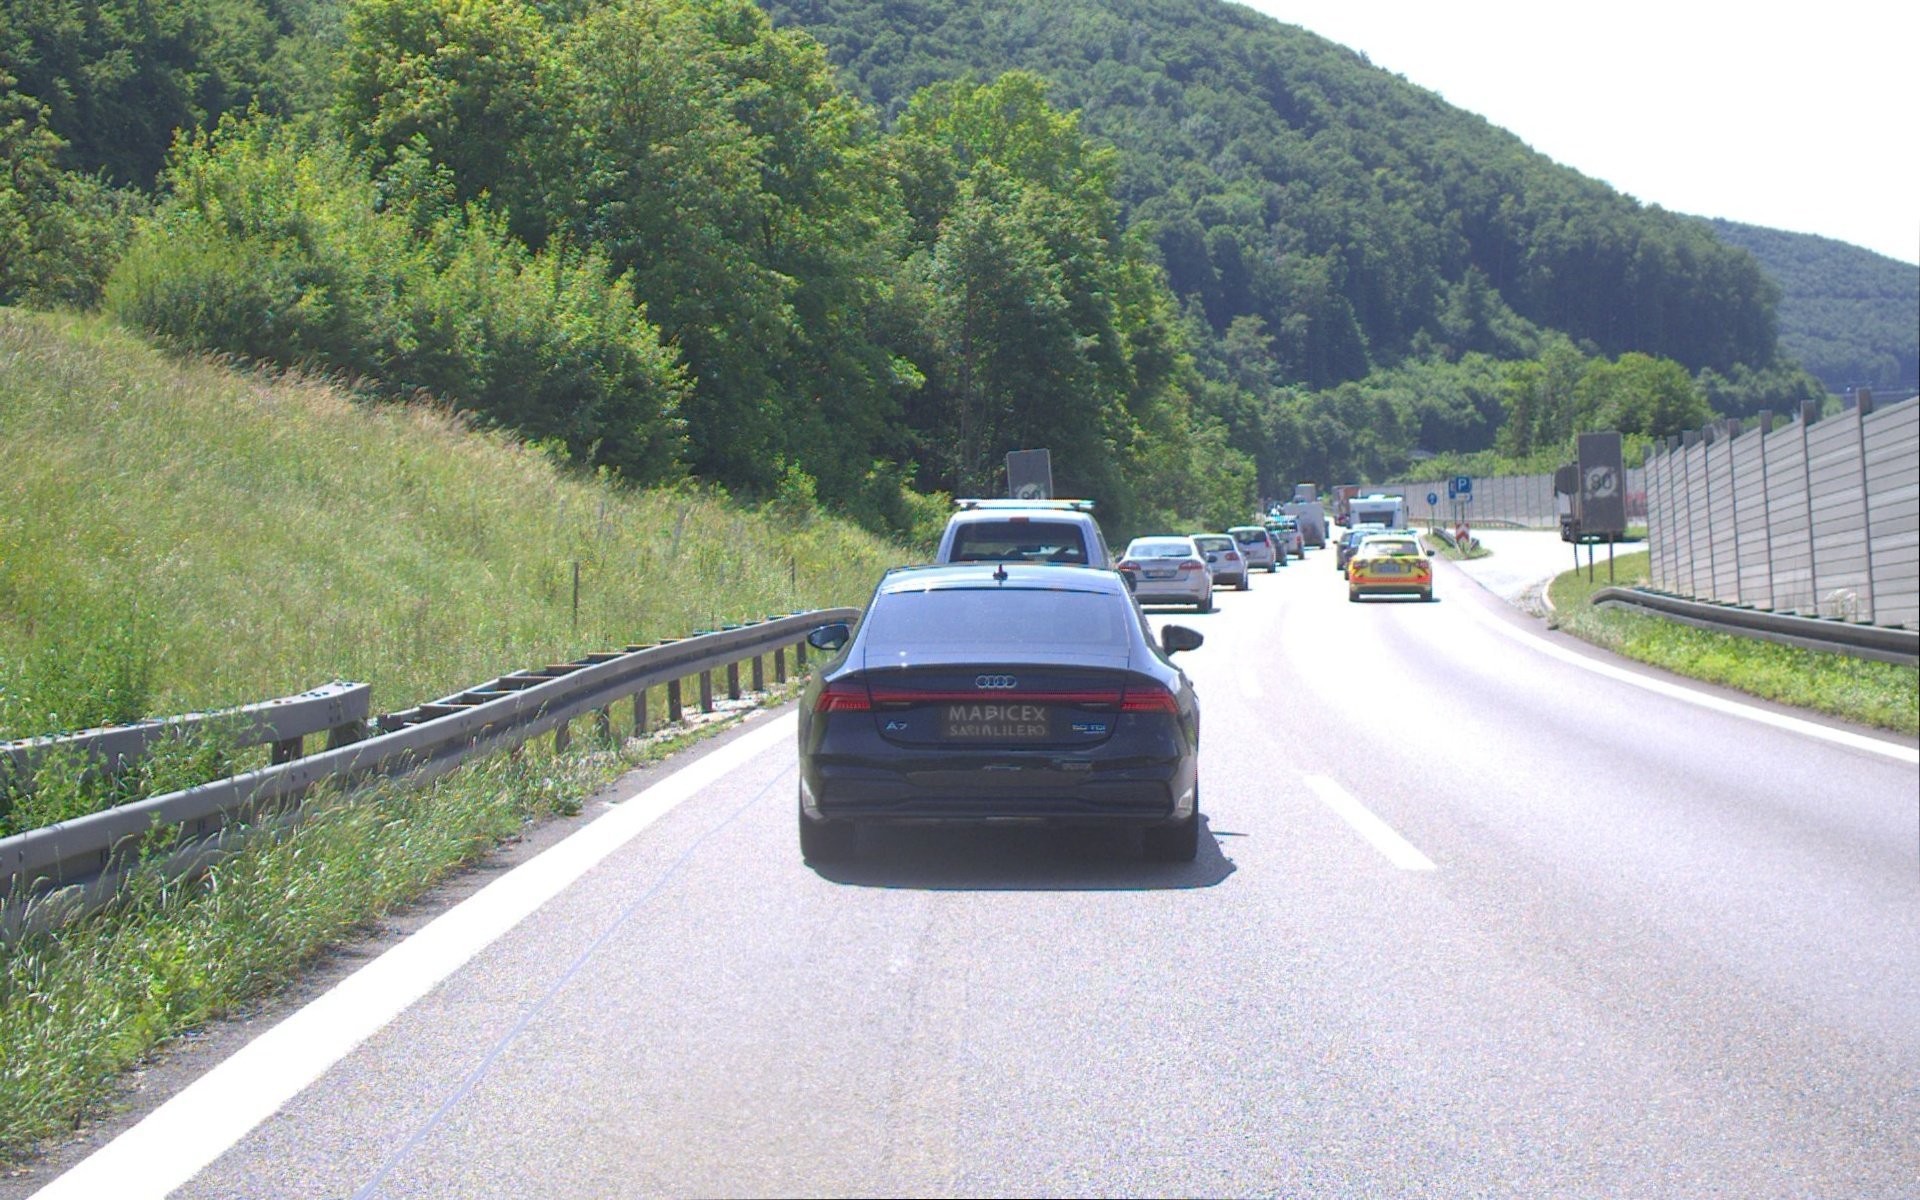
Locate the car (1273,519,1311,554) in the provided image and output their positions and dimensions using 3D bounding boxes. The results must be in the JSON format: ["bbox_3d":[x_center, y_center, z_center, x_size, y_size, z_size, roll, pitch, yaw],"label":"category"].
[{"bbox_3d":[15.192,-2.906,157.218,1.521,1.547,3.513,2,1,9],"label":"car"}]

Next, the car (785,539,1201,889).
[{"bbox_3d":[0.134,0.471,16.851,1.812,1.509,3.514,1,1,0],"label":"car"}]

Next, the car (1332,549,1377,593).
[{"bbox_3d":[14.042,-1.051,122.350,1.530,1.520,3.596,1,1,7],"label":"car"}]

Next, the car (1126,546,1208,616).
[{"bbox_3d":[4.117,-0.395,67.990,1.521,1.290,3.514,2,1,5],"label":"car"}]

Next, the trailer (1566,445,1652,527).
[{"bbox_3d":[32.076,-5.587,170.353,3.412,3.887,11.149,0,1,7],"label":"trailer"}]

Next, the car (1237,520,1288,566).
[{"bbox_3d":[10.598,-1.994,120.241,1.521,1.547,3.513,2,1,9],"label":"car"}]

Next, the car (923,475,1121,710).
[{"bbox_3d":[0.609,-0.098,31.176,1.521,1.961,3.514,2,1,5],"label":"car"}]

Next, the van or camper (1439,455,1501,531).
[{"bbox_3d":[26.725,-5.580,180.394,2.795,3.828,6.166,1,1,5],"label":"van or camper"}]

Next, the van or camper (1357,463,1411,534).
[{"bbox_3d":[24.031,-5.716,195.235,2.795,3.893,6.166,1,1,5],"label":"van or camper"}]

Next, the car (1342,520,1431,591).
[{"bbox_3d":[9.389,-0.994,75.602,1.879,1.493,3.999,0,1,7],"label":"car"}]

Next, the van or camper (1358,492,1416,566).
[{"bbox_3d":[18.636,-3.057,149.962,2.430,3.144,5.202,1,1,7],"label":"van or camper"}]

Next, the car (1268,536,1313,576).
[{"bbox_3d":[13.225,-1.766,137.369,1.522,1.547,3.513,2,1,10],"label":"car"}]

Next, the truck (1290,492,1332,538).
[{"bbox_3d":[20.367,-4.918,199.227,2.065,2.596,5.612,2,1,9],"label":"truck"}]

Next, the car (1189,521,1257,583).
[{"bbox_3d":[6.824,-1.247,88.948,1.521,1.547,3.513,2,1,8],"label":"car"}]
